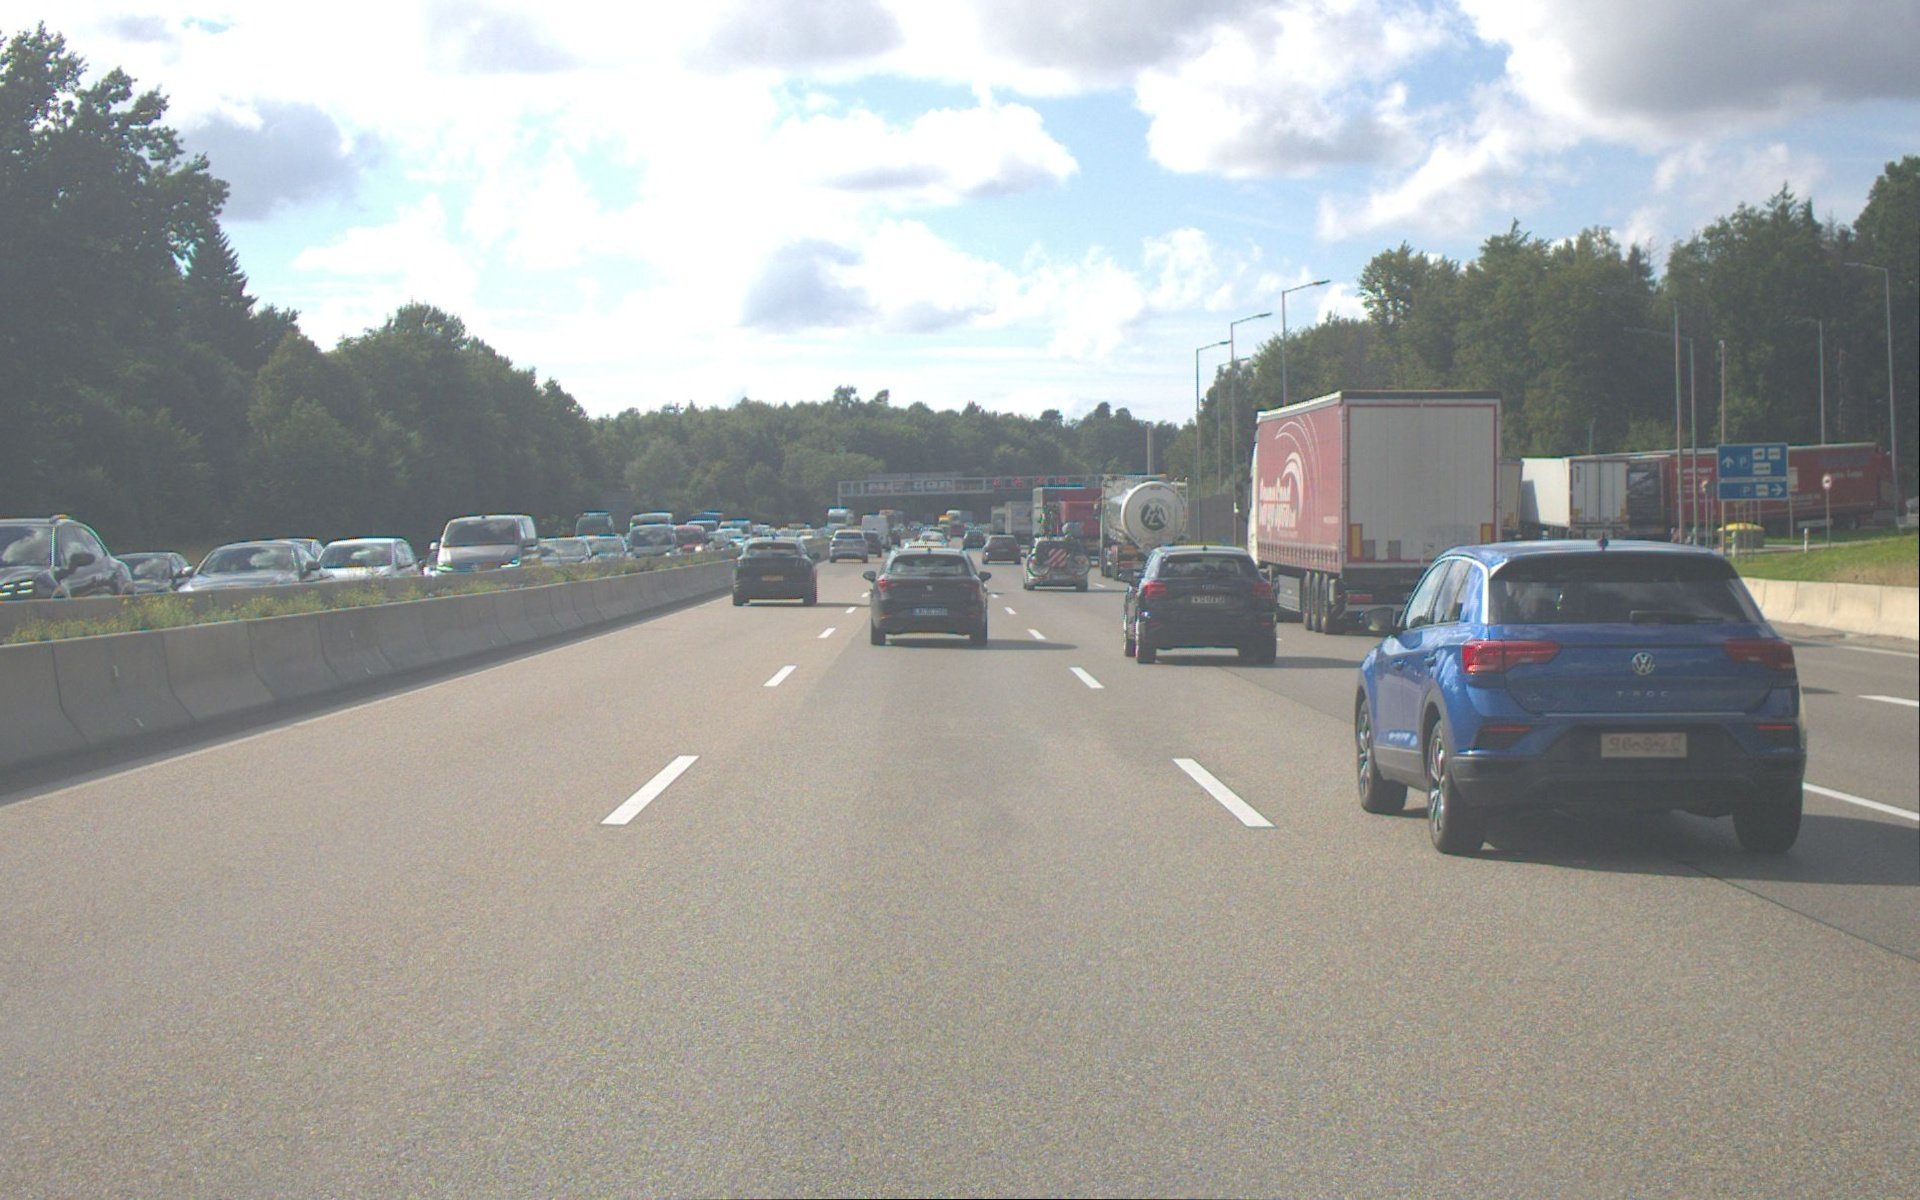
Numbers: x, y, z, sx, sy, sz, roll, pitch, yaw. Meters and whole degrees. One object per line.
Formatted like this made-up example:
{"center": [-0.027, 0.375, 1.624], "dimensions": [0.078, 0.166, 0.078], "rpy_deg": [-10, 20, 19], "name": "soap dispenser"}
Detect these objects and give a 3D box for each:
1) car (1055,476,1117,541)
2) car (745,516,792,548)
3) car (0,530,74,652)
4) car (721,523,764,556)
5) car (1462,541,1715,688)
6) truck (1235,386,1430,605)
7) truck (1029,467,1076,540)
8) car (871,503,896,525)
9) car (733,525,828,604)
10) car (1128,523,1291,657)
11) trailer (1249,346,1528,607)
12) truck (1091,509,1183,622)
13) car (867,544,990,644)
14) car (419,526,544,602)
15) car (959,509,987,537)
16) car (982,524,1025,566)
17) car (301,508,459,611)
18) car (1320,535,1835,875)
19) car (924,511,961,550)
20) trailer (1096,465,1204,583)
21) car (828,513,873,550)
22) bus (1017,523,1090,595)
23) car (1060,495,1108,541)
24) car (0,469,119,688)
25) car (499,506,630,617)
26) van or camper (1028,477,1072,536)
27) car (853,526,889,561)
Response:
{"center": [6.171, -4.467, 168.928], "dimensions": [2.866, 2.981, 5.149], "rpy_deg": [1, 0, 1], "name": "car"}
{"center": [-9.840, -3.514, 176.585], "dimensions": [1.993, 1.567, 5.329], "rpy_deg": [2, 1, 1], "name": "car"}
{"center": [-13.508, -0.117, 46.159], "dimensions": [1.993, 1.590, 4.524], "rpy_deg": [1, 0, 1], "name": "car"}
{"center": [-10.603, -2.961, 167.979], "dimensions": [1.765, 1.567, 4.357], "rpy_deg": [1, 1, 1], "name": "car"}
{"center": [6.830, 0.142, 37.784], "dimensions": [1.715, 1.506, 4.302], "rpy_deg": [-1, 0, -4], "name": "car"}
{"center": [7.270, -1.966, 67.843], "dimensions": [3.080, 4.050, 6.070], "rpy_deg": [1, 0, -1], "name": "truck"}
{"center": [4.990, -5.189, 187.085], "dimensions": [2.358, 3.560, 11.266], "rpy_deg": [1, 0, 1], "name": "truck"}
{"center": [-5.360, -6.060, 242.503], "dimensions": [1.623, 1.465, 3.815], "rpy_deg": [1, 1, 0], "name": "car"}
{"center": [-4.175, -0.847, 80.424], "dimensions": [1.993, 1.770, 4.000], "rpy_deg": [1, 1, 0], "name": "car"}
{"center": [3.202, -0.137, 44.741], "dimensions": [1.799, 1.639, 4.000], "rpy_deg": [1, 0, 0], "name": "car"}
{"center": [7.335, -1.932, 61.145], "dimensions": [3.038, 4.021, 13.890], "rpy_deg": [1, 0, -1], "name": "trailer"}
{"center": [6.654, -1.293, 129.973], "dimensions": [3.045, 4.146, 7.127], "rpy_deg": [0, 0, 0], "name": "truck"}
{"center": [-0.515, -0.117, 51.779], "dimensions": [1.734, 1.360, 4.001], "rpy_deg": [1, 2, -2], "name": "car"}
{"center": [-10.341, -0.799, 74.588], "dimensions": [1.993, 1.567, 4.815], "rpy_deg": [1, 1, 1], "name": "car"}
{"center": [0.955, -5.806, 260.279], "dimensions": [1.993, 2.007, 4.000], "rpy_deg": [1, 1, -1], "name": "car"}
{"center": [2.149, -2.697, 169.757], "dimensions": [1.993, 2.007, 4.000], "rpy_deg": [1, 0, -1], "name": "car"}
{"center": [-10.306, -0.737, 61.440], "dimensions": [1.993, 1.729, 5.091], "rpy_deg": [1, 1, -1], "name": "car"}
{"center": [3.121, 0.500, 18.338], "dimensions": [1.924, 1.536, 4.645], "rpy_deg": [1, 0, 1], "name": "car"}
{"center": [-0.974, -3.810, 189.737], "dimensions": [1.993, 2.007, 4.000], "rpy_deg": [-1, 0, -1], "name": "car"}
{"center": [6.748, -2.627, 123.840], "dimensions": [3.036, 4.002, 12.246], "rpy_deg": [0, 0, -1], "name": "trailer"}
{"center": [-5.526, -3.438, 173.998], "dimensions": [2.154, 1.770, 4.000], "rpy_deg": [1, 0, 0], "name": "car"}
{"center": [2.722, -1.175, 100.623], "dimensions": [1.993, 2.007, 4.000], "rpy_deg": [1, 0, 0], "name": "bus"}
{"center": [5.730, -3.793, 159.202], "dimensions": [1.993, 2.007, 4.000], "rpy_deg": [1, 0, -1], "name": "car"}
{"center": [-9.685, -0.249, 33.306], "dimensions": [1.882, 2.007, 4.519], "rpy_deg": [1, 1, 1], "name": "car"}
{"center": [-7.169, -0.728, 62.573], "dimensions": [1.993, 1.914, 4.001], "rpy_deg": [1, 2, -1], "name": "car"}
{"center": [5.057, -5.254, 193.805], "dimensions": [2.351, 3.133, 5.710], "rpy_deg": [1, 0, 1], "name": "van or camper"}
{"center": [-5.248, -3.362, 202.954], "dimensions": [1.993, 2.007, 4.000], "rpy_deg": [1, 1, -1], "name": "car"}
